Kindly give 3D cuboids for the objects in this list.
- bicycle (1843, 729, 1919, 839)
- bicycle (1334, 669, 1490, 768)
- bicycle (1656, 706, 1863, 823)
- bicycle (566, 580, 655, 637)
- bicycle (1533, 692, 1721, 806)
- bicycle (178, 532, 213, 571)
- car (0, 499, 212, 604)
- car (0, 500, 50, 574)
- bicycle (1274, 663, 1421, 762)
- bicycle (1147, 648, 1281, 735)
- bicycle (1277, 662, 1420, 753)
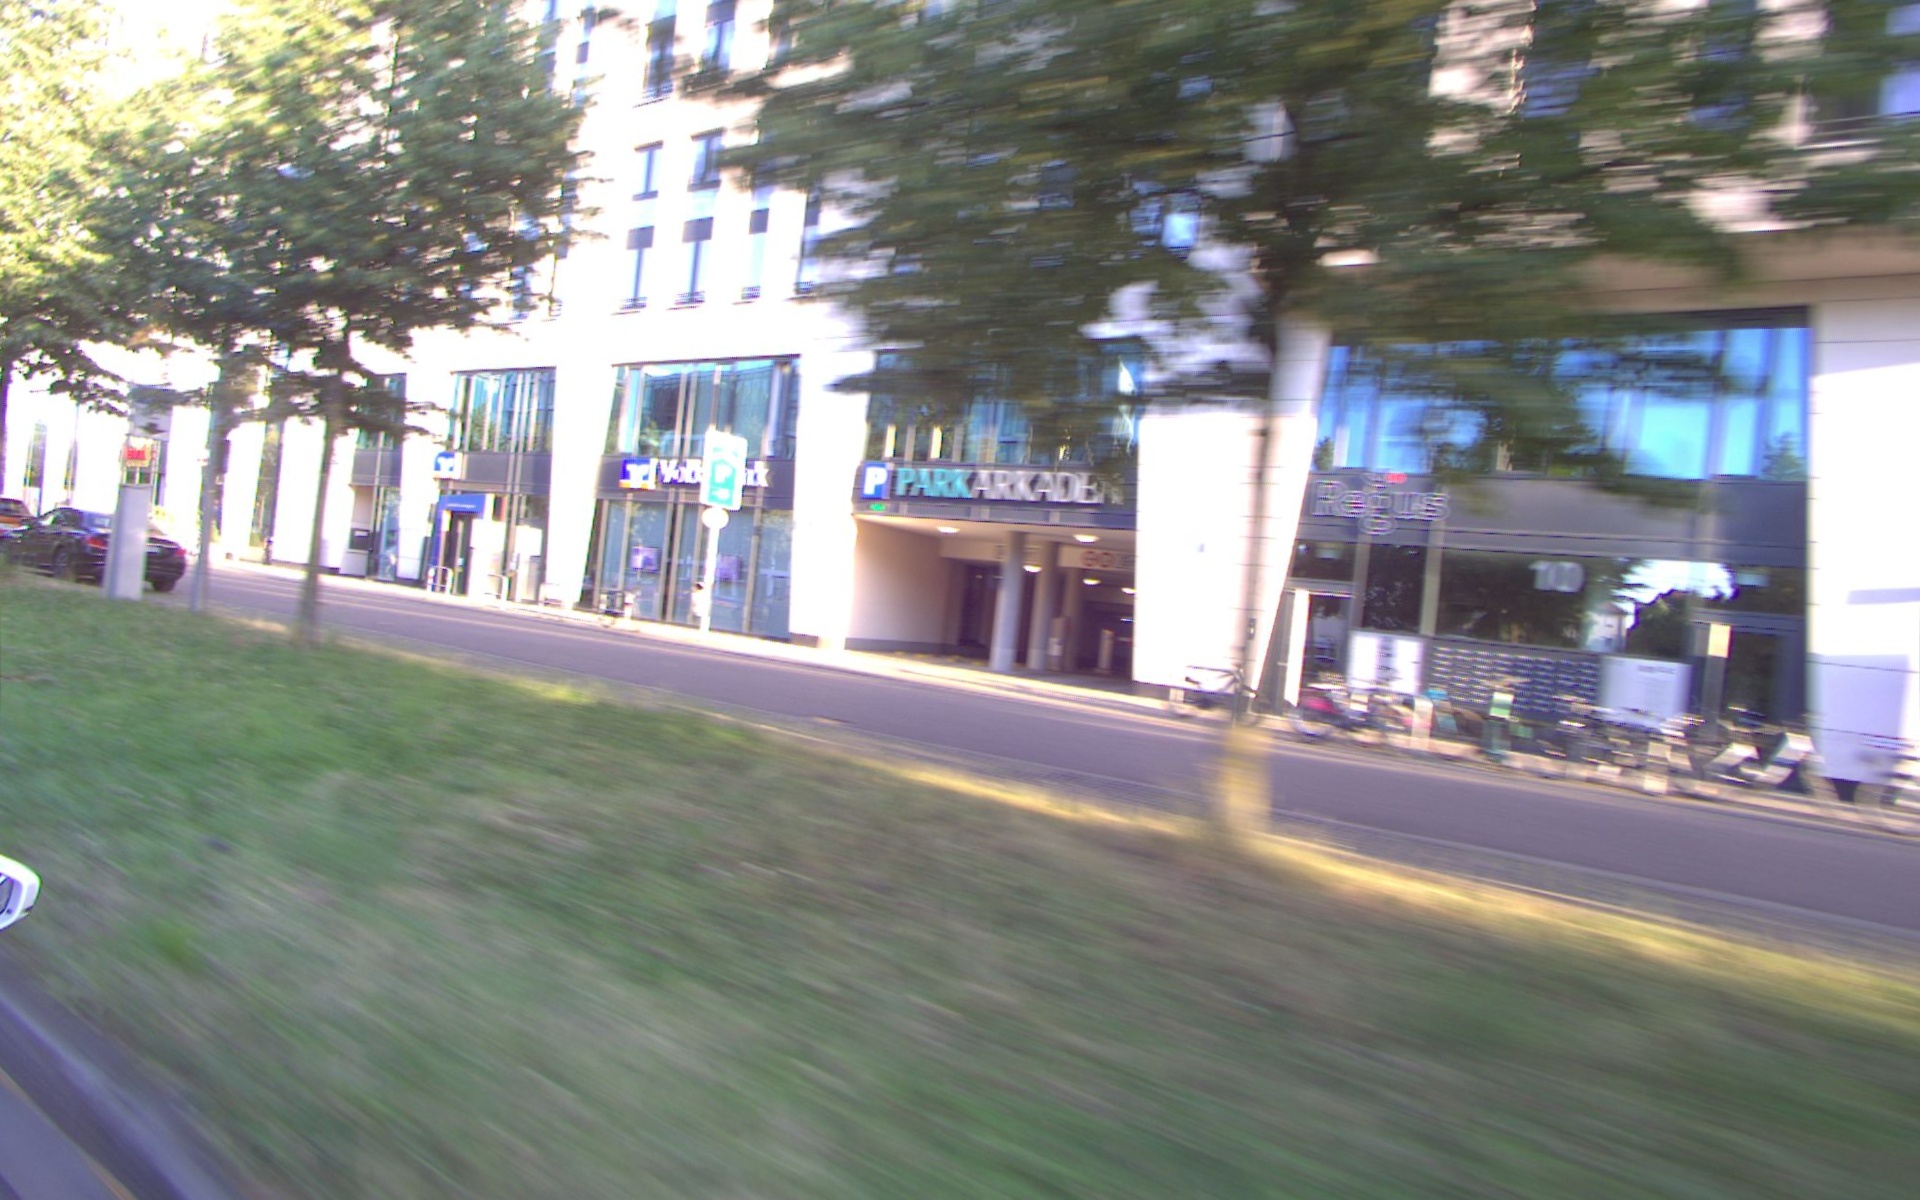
[{"bbox_3d":[10.864,2.086,10.871,1.826,1.075,0.533,6,2,32],"label":"bicycle"},{"bbox_3d":[6.230,1.609,13.914,1.826,1.074,0.533,6,0,32],"label":"bicycle"},{"bbox_3d":[9.695,1.969,12.294,1.826,1.075,0.533,6,2,32],"label":"bicycle"},{"bbox_3d":[-7.819,0.177,22.472,2.021,1.051,0.653,6,0,32],"label":"bicycle"},{"bbox_3d":[8.264,1.824,12.552,1.826,1.075,0.533,6,2,32],"label":"bicycle"},{"bbox_3d":[-24.958,-1.603,32.846,1.809,1.139,0.569,7,2,43],"label":"bicycle"},{"bbox_3d":[-17.229,-0.997,19.971,4.730,1.567,1.948,6,-2,29],"label":"car"},{"bbox_3d":[-23.385,-1.641,23.491,4.408,1.547,1.858,6,-2,31],"label":"car"},{"bbox_3d":[5.300,1.517,13.820,1.748,1.075,0.534,6,2,22],"label":"bicycle"},{"bbox_3d":[3.865,1.370,15.396,1.826,1.075,0.533,6,2,32],"label":"bicycle"},{"bbox_3d":[5.741,1.560,14.906,1.826,1.075,0.533,6,2,32],"label":"bicycle"}]
